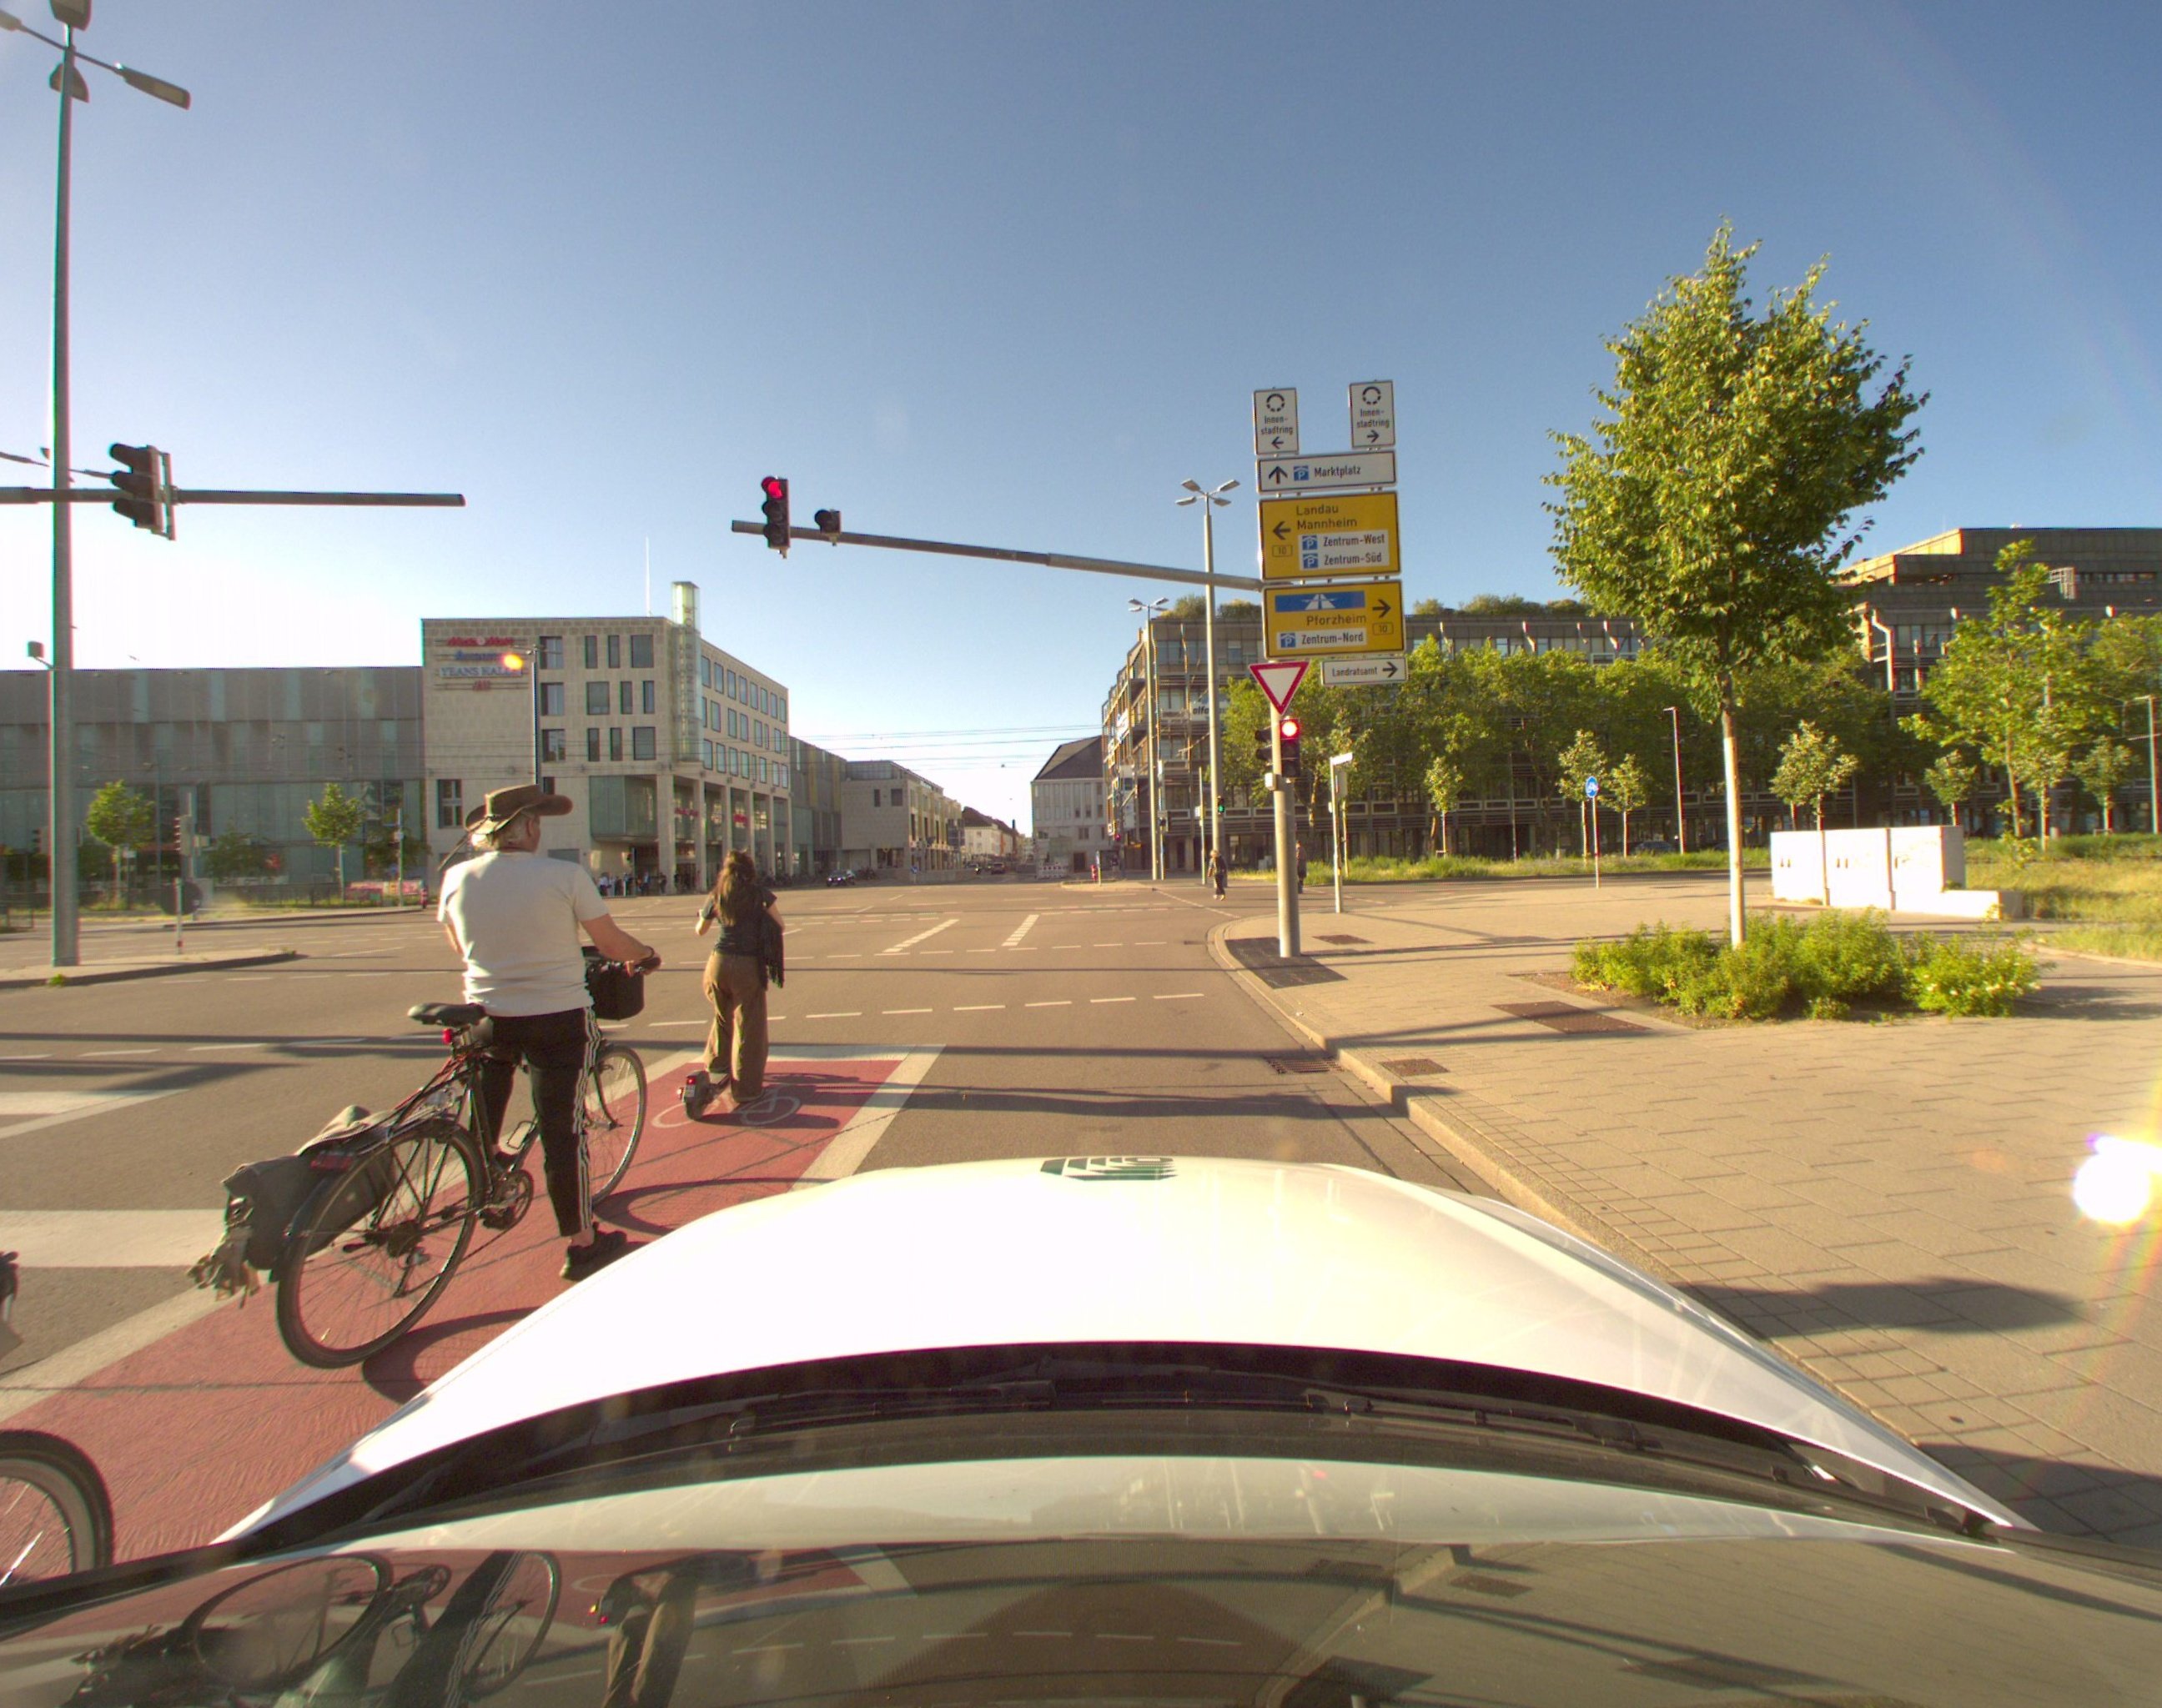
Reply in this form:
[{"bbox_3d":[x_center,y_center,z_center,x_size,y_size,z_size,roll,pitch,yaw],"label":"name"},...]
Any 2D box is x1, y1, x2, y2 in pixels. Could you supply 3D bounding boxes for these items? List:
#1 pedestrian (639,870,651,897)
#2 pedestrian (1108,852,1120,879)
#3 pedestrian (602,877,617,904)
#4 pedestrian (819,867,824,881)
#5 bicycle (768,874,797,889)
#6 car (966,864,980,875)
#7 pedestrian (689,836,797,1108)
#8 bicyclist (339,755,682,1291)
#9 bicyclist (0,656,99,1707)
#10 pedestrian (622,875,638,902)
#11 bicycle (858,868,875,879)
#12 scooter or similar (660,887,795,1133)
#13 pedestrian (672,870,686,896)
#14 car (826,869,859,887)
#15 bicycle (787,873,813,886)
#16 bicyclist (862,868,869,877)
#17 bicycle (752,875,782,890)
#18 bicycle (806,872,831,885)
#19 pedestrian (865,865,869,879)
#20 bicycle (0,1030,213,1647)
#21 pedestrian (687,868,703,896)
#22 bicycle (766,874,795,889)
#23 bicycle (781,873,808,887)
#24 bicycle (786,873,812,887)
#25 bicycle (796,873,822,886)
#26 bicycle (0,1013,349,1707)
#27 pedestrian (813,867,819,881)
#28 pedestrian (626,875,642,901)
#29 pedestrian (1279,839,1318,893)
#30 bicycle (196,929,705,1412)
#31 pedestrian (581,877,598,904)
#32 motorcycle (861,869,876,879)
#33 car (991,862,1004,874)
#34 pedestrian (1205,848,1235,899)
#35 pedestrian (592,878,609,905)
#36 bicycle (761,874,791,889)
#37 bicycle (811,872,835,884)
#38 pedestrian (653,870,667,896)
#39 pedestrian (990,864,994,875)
[{"bbox_3d":[-31.301,2.120,58.430,0.718,1.885,0.781,0,-1,-25],"label":"pedestrian"},{"bbox_3d":[2.328,0.814,57.410,0.785,1.890,0.644,0,-1,1],"label":"pedestrian"},{"bbox_3d":[-33.988,2.629,58.716,0.714,1.885,0.786,0,-1,-6],"label":"pedestrian"},{"bbox_3d":[-30.451,2.347,95.559,0.553,1.679,0.606,0,0,-8],"label":"pedestrian"},{"bbox_3d":[-26.737,2.440,72.892,2.299,1.222,0.612,-2,-1,-1],"label":"bicycle"},{"bbox_3d":[-16.740,2.364,126.808,1.793,1.657,3.997,0,-1,-2],"label":"car"},{"bbox_3d":[-2.156,0.708,5.241,0.549,1.633,0.569,0,-1,-13],"label":"pedestrian"},{"bbox_3d":[-2.049,0.546,3.059,0.658,1.720,0.866,0,-1,1],"label":"bicyclist"},{"bbox_3d":[-1.650,0.547,0.660,0.639,1.579,0.875,0,0,-1],"label":"bicyclist"},{"bbox_3d":[-31.942,2.455,57.688,0.783,1.885,0.716,0,-1,-4],"label":"pedestrian"},{"bbox_3d":[-25.316,2.296,96.040,1.818,1.206,0.506,-1,0,-36],"label":"bicycle"},{"bbox_3d":[-2.150,0.873,5.072,0.547,1.294,1.188,0,-1,-13],"label":"scooter or similar"},{"bbox_3d":[-29.102,2.069,58.936,0.801,1.843,0.855,-2,0,-30],"label":"pedestrian"},{"bbox_3d":[-20.621,2.053,70.504,1.625,1.342,3.999,-4,-1,0],"label":"car"},{"bbox_3d":[-27.627,2.506,80.122,2.299,1.222,0.612,-2,-1,-1],"label":"bicycle"},{"bbox_3d":[-25.412,2.149,95.956,0.627,1.084,0.506,0,0,-35],"label":"bicyclist"},{"bbox_3d":[-26.731,2.410,69.371,2.299,1.222,0.612,-2,-1,-1],"label":"bicycle"},{"bbox_3d":[-27.586,2.551,85.578,2.299,1.222,0.612,-2,-1,-1],"label":"bicycle"},{"bbox_3d":[-26.100,2.194,99.352,0.521,1.679,0.580,0,0,-12],"label":"pedestrian"},{"bbox_3d":[-2.415,0.984,0.978,0.645,1.109,1.970,0,0,-1],"label":"bicycle"},{"bbox_3d":[-28.703,2.077,60.595,0.883,2.014,0.771,0,-1,-9],"label":"pedestrian"},{"bbox_3d":[-26.562,2.431,72.007,2.299,1.222,0.612,-2,-1,-1],"label":"bicycle"},{"bbox_3d":[-26.694,2.465,75.960,2.299,1.222,0.612,-2,-1,-1],"label":"bicycle"},{"bbox_3d":[-27.060,2.485,78.128,2.299,1.222,0.612,-2,-1,-1],"label":"bicycle"},{"bbox_3d":[-27.182,2.513,81.339,2.299,1.222,0.612,-2,-1,-1],"label":"bicycle"},{"bbox_3d":[-1.647,0.906,0.575,0.614,1.218,1.831,0,0,-1],"label":"bicycle"},{"bbox_3d":[-31.007,2.356,95.392,0.570,1.679,0.614,0,0,-8],"label":"pedestrian"},{"bbox_3d":[-32.509,2.472,59.240,0.783,1.885,0.716,0,-1,-4],"label":"pedestrian"},{"bbox_3d":[6.915,0.371,25.914,0.878,1.665,0.962,0,-1,-8],"label":"pedestrian"},{"bbox_3d":[-2.141,0.946,3.136,0.483,1.156,1.832,0,-1,2],"label":"bicycle"},{"bbox_3d":[-35.188,2.635,58.350,0.783,1.885,0.716,0,-1,-4],"label":"pedestrian"},{"bbox_3d":[-25.780,2.433,98.735,1.807,1.206,0.509,0,0,-14],"label":"motorcycle"},{"bbox_3d":[-11.136,1.859,108.652,1.735,1.531,3.848,0,-1,-5],"label":"car"},{"bbox_3d":[4.115,0.567,24.114,0.785,1.492,0.644,0,-1,1],"label":"pedestrian"},{"bbox_3d":[-33.865,2.617,57.369,0.783,1.885,0.716,0,-1,-4],"label":"pedestrian"},{"bbox_3d":[-26.459,2.419,70.648,2.299,1.222,0.612,-2,-1,-1],"label":"bicycle"},{"bbox_3d":[-27.421,2.558,86.643,2.299,1.222,0.612,-2,-1,-1],"label":"bicycle"},{"bbox_3d":[-30.836,2.123,59.638,0.800,1.843,0.856,-2,0,-26],"label":"pedestrian"},{"bbox_3d":[-12.833,2.241,117.656,0.520,1.679,0.582,0,0,-5],"label":"pedestrian"}]
